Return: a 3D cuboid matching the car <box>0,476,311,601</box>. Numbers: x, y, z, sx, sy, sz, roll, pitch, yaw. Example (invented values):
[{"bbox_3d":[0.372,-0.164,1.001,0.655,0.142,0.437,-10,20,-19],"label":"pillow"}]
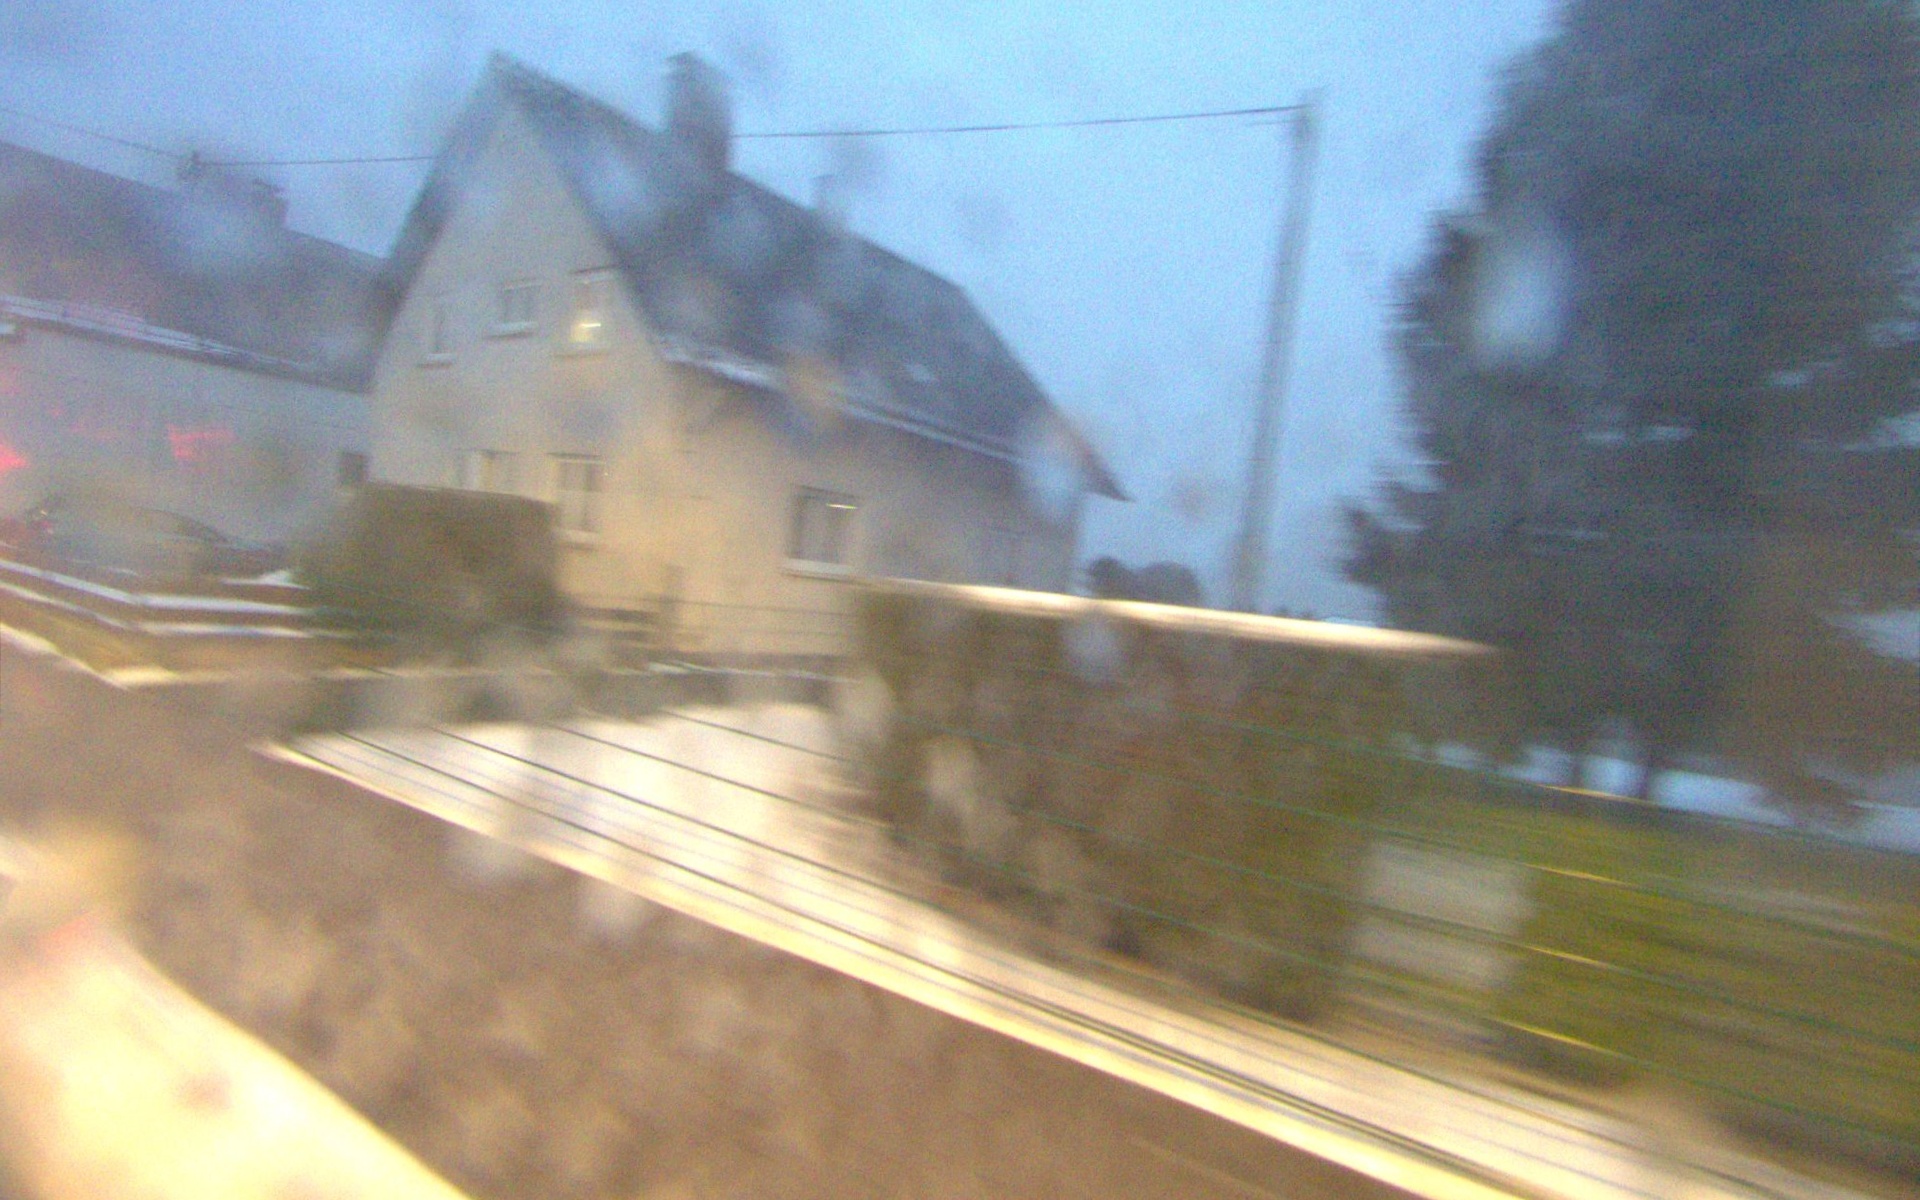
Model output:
[{"bbox_3d":[-14.118,-1.017,17.782,1.688,1.470,3.989,10,0,37],"label":"car"}]
